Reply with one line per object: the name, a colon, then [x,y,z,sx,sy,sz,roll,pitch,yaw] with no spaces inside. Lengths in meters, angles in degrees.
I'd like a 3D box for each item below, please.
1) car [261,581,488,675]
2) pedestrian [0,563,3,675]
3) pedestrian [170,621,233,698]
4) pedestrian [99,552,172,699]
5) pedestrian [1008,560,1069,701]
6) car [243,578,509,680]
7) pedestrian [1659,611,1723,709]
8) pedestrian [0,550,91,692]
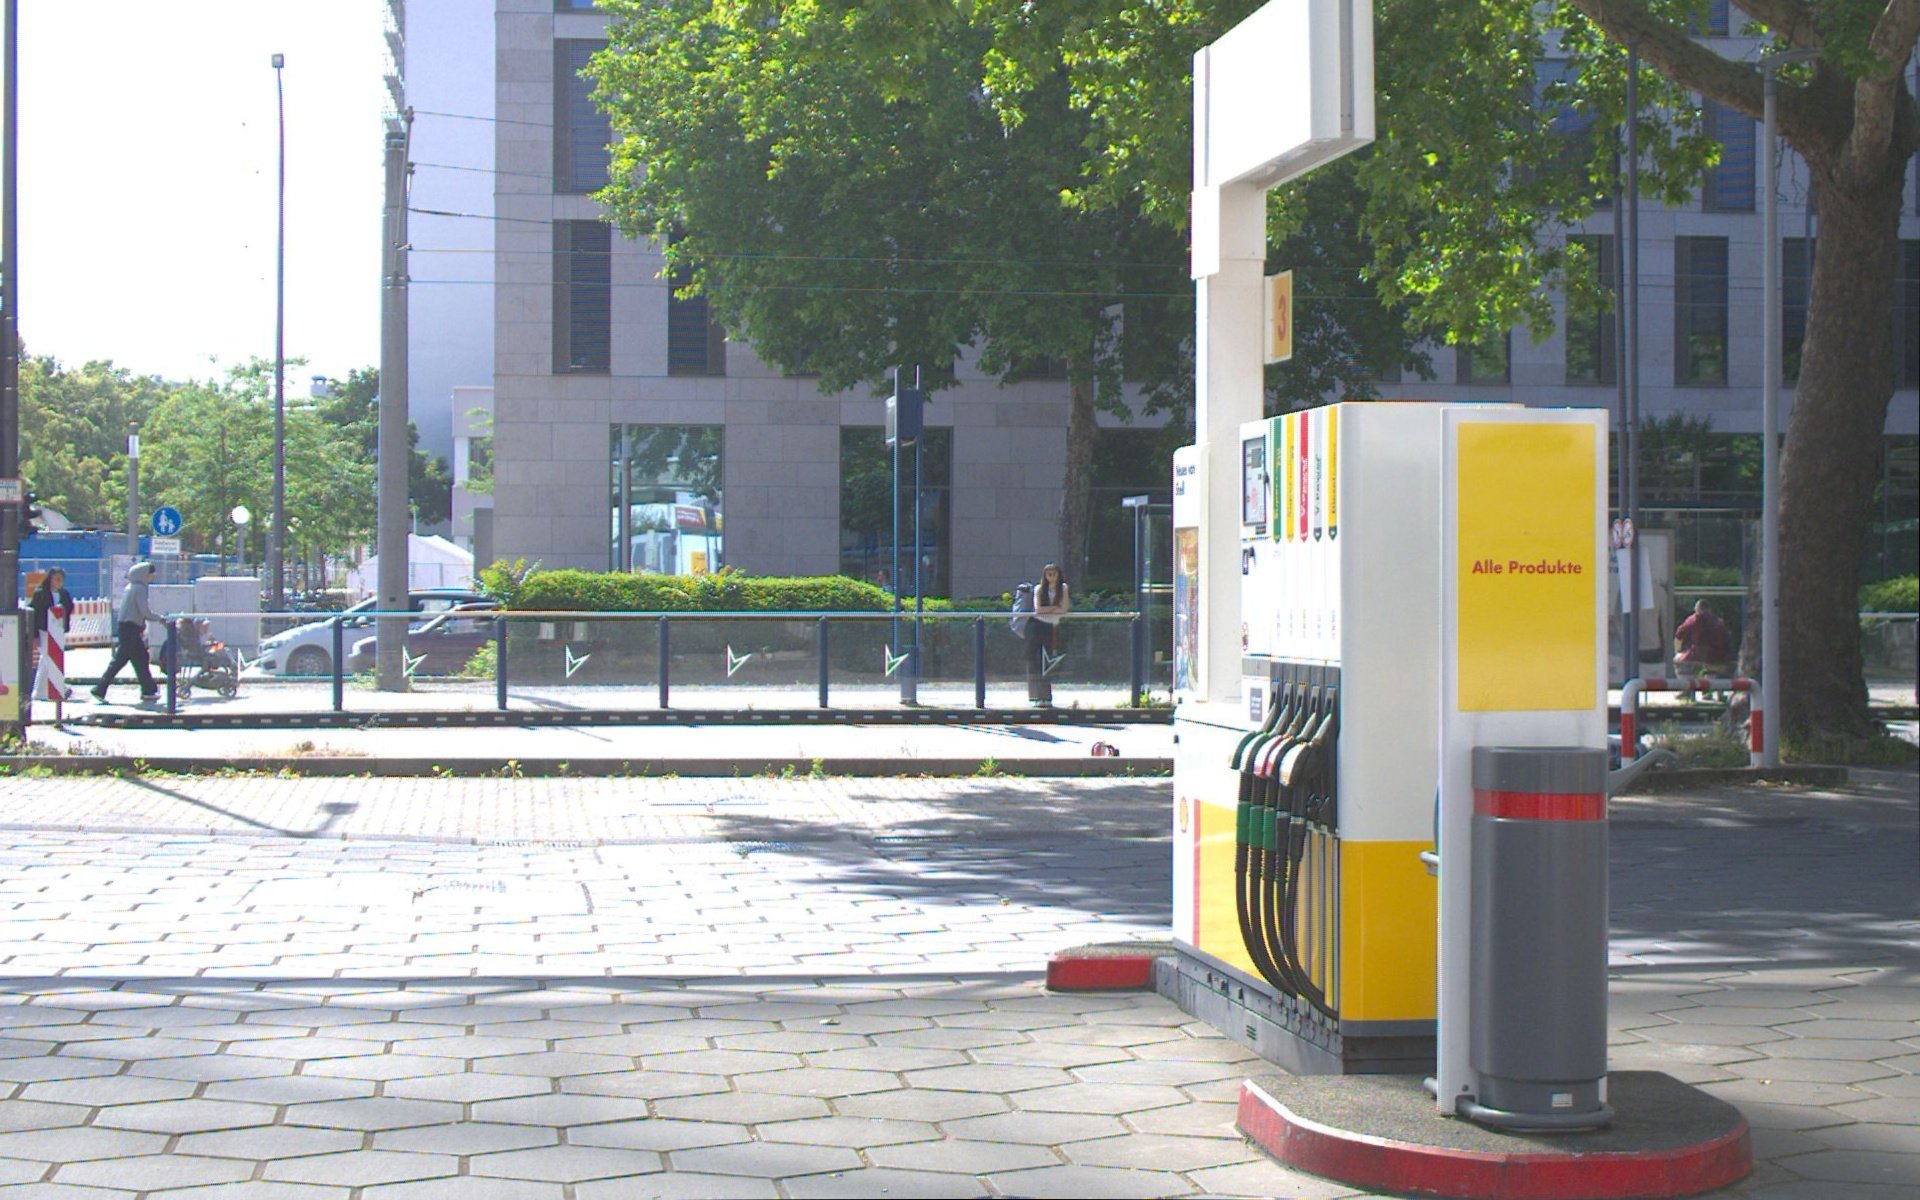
car: [-9.853,0.460,57.783,3.681,1.547,1.592,0,0,-13]
pedestrian: [-13.590,0.261,47.356,0.650,1.535,0.503,0,0,2]
pedestrian: [-8.731,0.686,39.582,0.690,0.877,0.503,0,0,-10]
pedestrian: [-9.456,0.286,39.437,0.776,1.677,0.503,0,0,-10]
pedestrian: [0.892,0.341,39.211,0.584,1.586,0.670,0,2,-8]
car: [-9.110,0.442,53.537,3.986,1.547,1.704,0,0,-13]
pedestrian: [8.606,0.702,40.486,0.628,1.134,0.524,0,0,-1]
pedestrian: [-10.862,0.245,40.842,0.932,1.677,0.503,0,0,3]
